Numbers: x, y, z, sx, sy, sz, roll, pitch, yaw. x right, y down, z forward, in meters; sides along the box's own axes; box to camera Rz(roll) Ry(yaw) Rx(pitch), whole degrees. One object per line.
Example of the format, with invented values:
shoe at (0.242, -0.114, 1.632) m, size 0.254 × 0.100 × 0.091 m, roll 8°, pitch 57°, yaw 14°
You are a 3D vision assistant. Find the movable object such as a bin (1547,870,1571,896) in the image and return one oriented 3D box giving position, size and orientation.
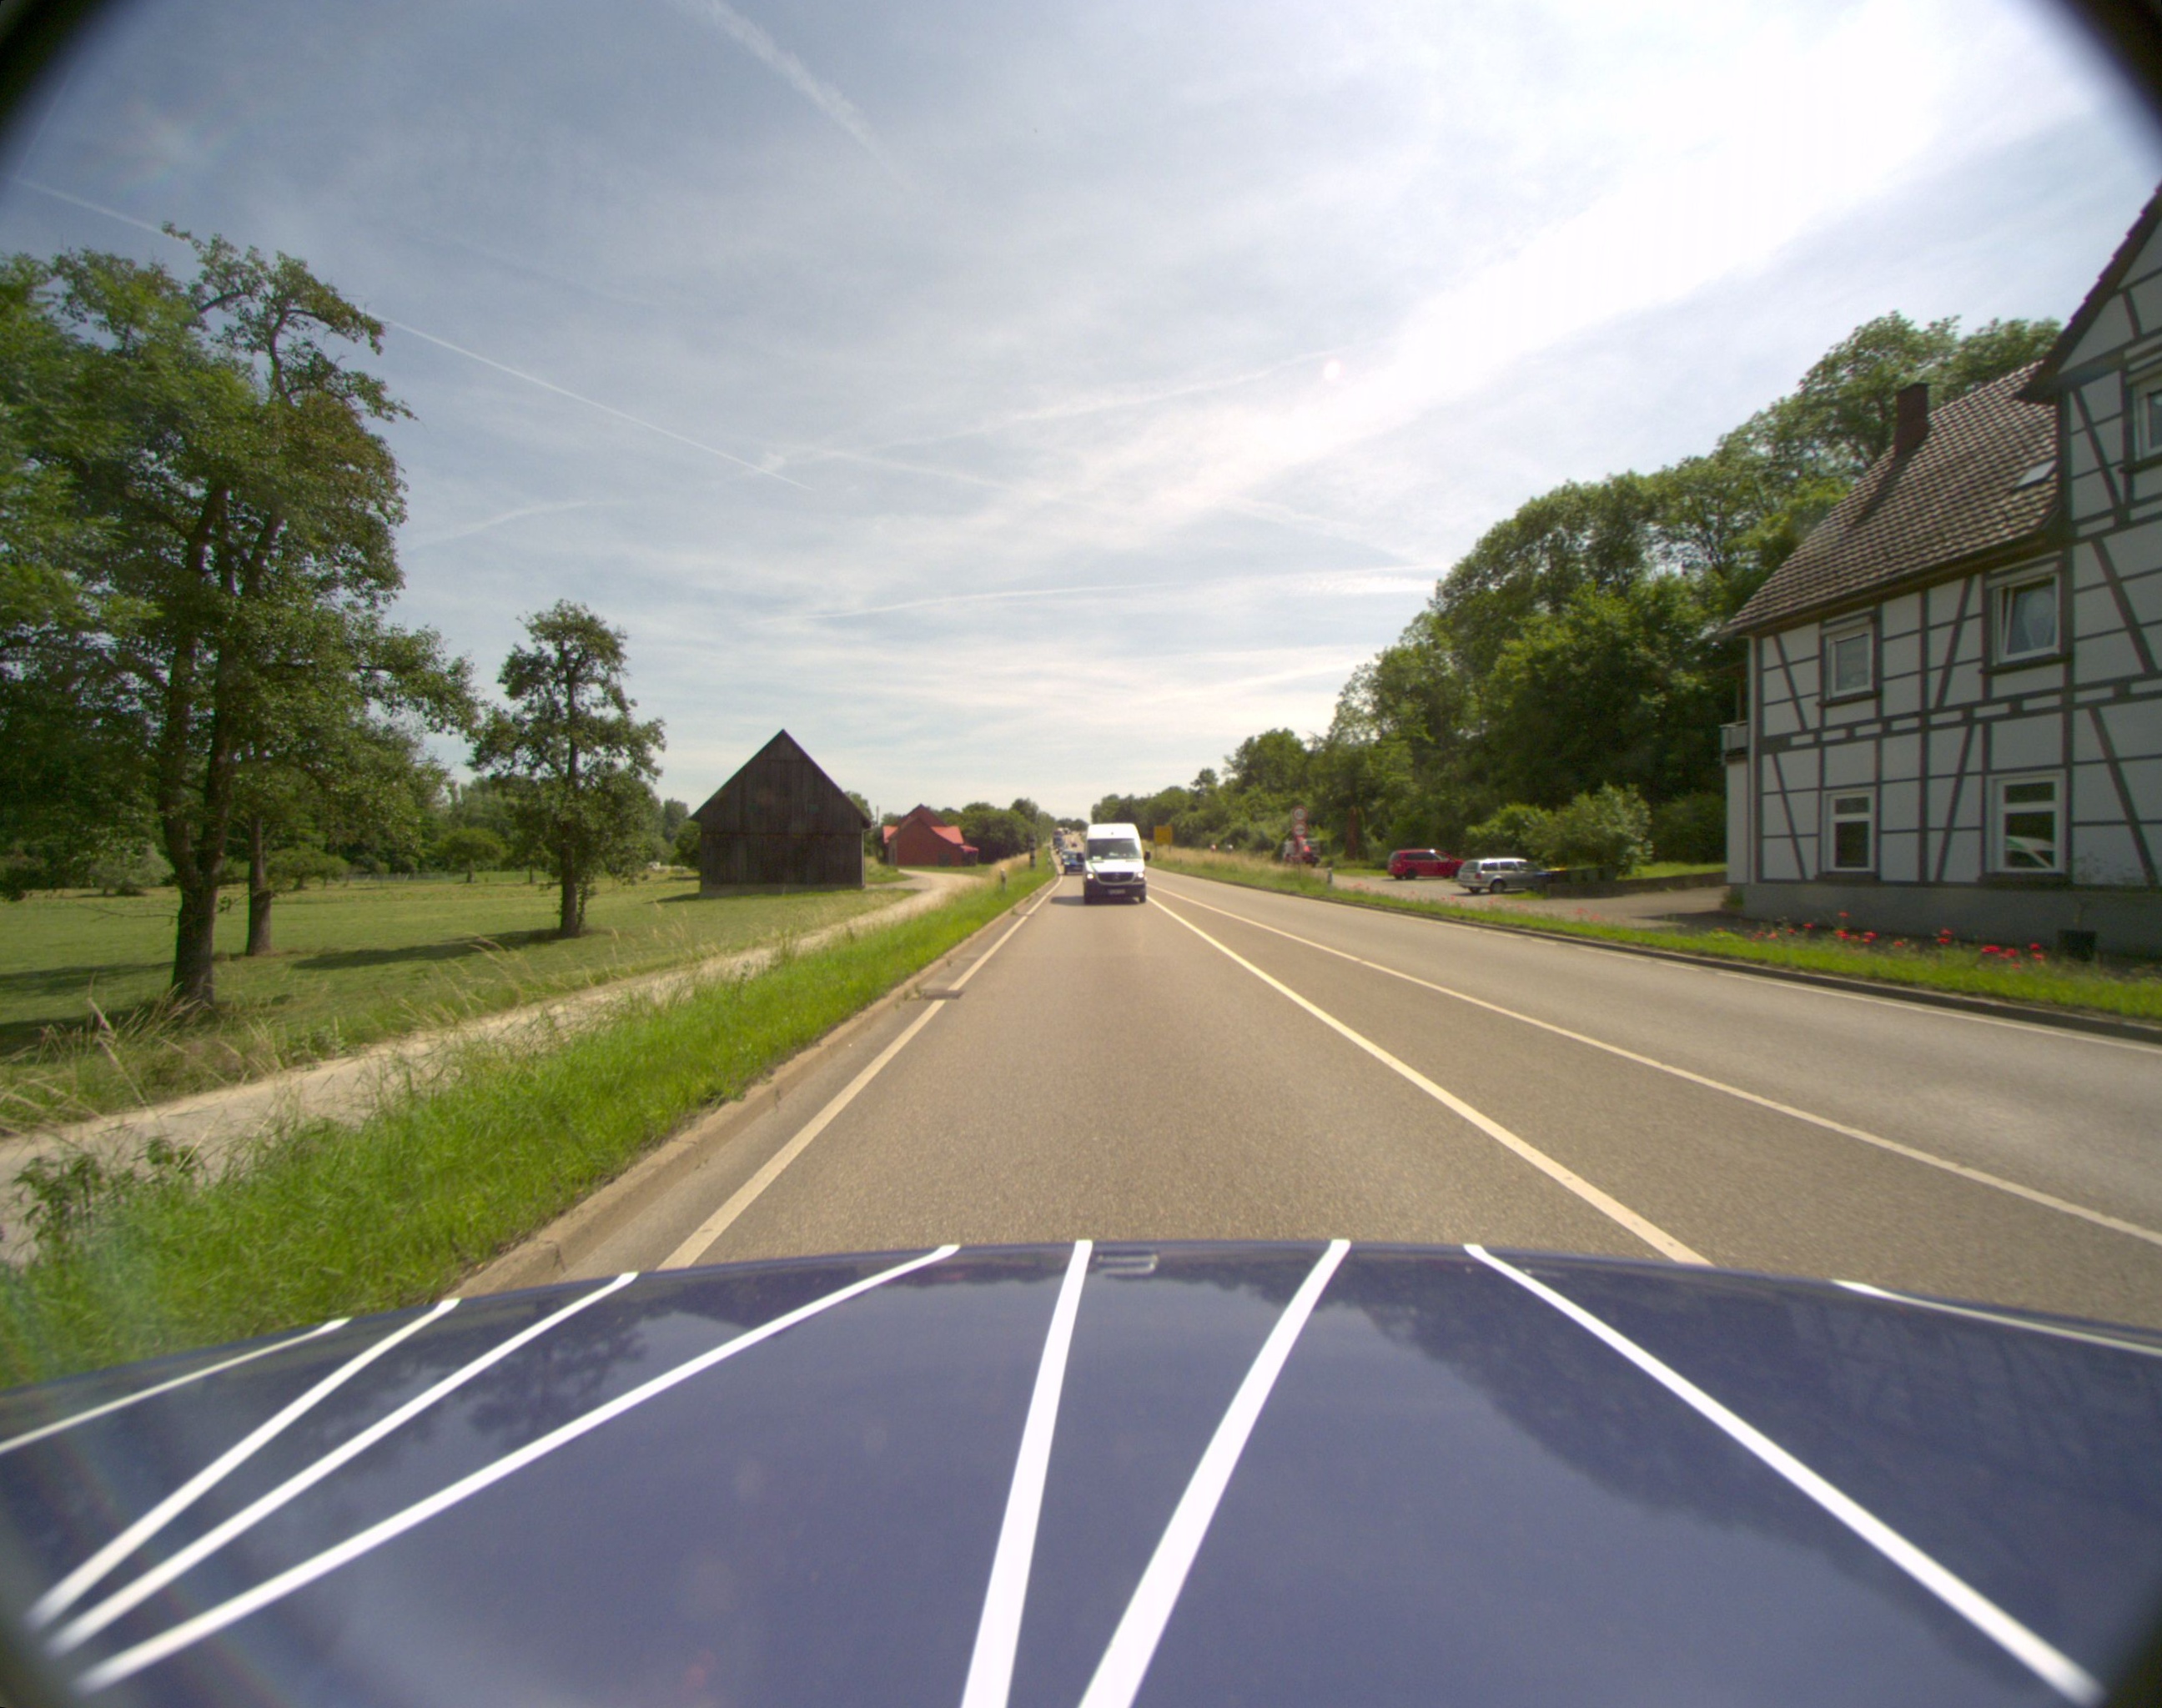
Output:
movable object such as a bin at (18.586, 1.124, 29.548) m, size 0.505 × 0.964 × 0.654 m, roll -2°, pitch 2°, yaw -7°

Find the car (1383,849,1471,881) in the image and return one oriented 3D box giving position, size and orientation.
car at (19.133, 0.580, 42.132) m, size 4.037 × 1.609 × 1.833 m, roll -1°, pitch 1°, yaw 1°

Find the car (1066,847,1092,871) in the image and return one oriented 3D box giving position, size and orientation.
car at (-0.179, 0.415, 56.178) m, size 1.848 × 1.692 × 4.243 m, roll 0°, pitch -1°, yaw -1°

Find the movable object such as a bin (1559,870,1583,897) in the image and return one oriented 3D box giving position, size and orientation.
movable object such as a bin at (19.114, 1.147, 29.648) m, size 0.505 × 0.965 × 0.654 m, roll -2°, pitch 2°, yaw -7°

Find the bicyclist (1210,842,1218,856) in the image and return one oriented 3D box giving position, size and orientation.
bicyclist at (14.991, -0.599, 85.641) m, size 0.750 × 1.586 × 0.936 m, roll -2°, pitch 1°, yaw 1°

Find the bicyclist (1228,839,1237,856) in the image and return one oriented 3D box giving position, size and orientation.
bicyclist at (16.308, -0.701, 81.956) m, size 0.750 × 1.705 × 0.936 m, roll -2°, pitch 1°, yaw 3°

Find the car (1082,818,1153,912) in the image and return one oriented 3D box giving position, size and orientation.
car at (1.070, 0.308, 24.772) m, size 1.960 × 2.655 × 5.680 m, roll -2°, pitch 0°, yaw 0°

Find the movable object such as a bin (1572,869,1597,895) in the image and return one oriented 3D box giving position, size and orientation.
movable object such as a bin at (19.683, 1.096, 29.713) m, size 0.505 × 0.971 × 0.654 m, roll -2°, pitch 2°, yaw -7°

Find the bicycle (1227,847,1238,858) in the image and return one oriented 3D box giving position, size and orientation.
bicycle at (16.320, -0.162, 81.835) m, size 0.750 × 1.174 × 2.105 m, roll -2°, pitch 1°, yaw 3°

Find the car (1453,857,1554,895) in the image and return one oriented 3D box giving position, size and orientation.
car at (17.863, 0.912, 32.191) m, size 3.387 × 1.457 × 1.609 m, roll -2°, pitch 1°, yaw -6°

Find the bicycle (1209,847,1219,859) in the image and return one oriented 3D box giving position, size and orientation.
bicycle at (15.002, -0.122, 85.652) m, size 0.750 × 1.205 × 2.104 m, roll -2°, pitch 1°, yaw 1°

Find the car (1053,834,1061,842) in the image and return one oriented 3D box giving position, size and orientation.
car at (-7.021, -4.731, 222.999) m, size 1.998 × 2.166 × 4.000 m, roll -2°, pitch 0°, yaw 1°

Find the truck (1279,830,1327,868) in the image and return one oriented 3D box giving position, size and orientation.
truck at (18.134, -0.436, 62.382) m, size 2.031 × 2.946 × 6.773 m, roll -2°, pitch 1°, yaw 1°

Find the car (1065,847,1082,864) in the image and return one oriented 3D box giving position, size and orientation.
car at (-0.897, 0.149, 85.808) m, size 1.848 × 1.692 × 4.241 m, roll 0°, pitch 2°, yaw -1°

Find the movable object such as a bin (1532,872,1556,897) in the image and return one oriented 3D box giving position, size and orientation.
movable object such as a bin at (18.000, 1.172, 29.554) m, size 0.505 × 0.931 × 0.654 m, roll -2°, pitch 2°, yaw -7°

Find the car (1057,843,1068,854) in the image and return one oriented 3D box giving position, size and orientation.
car at (-3.145, -0.921, 130.339) m, size 1.849 × 1.692 × 4.240 m, roll -1°, pitch 2°, yaw -2°
